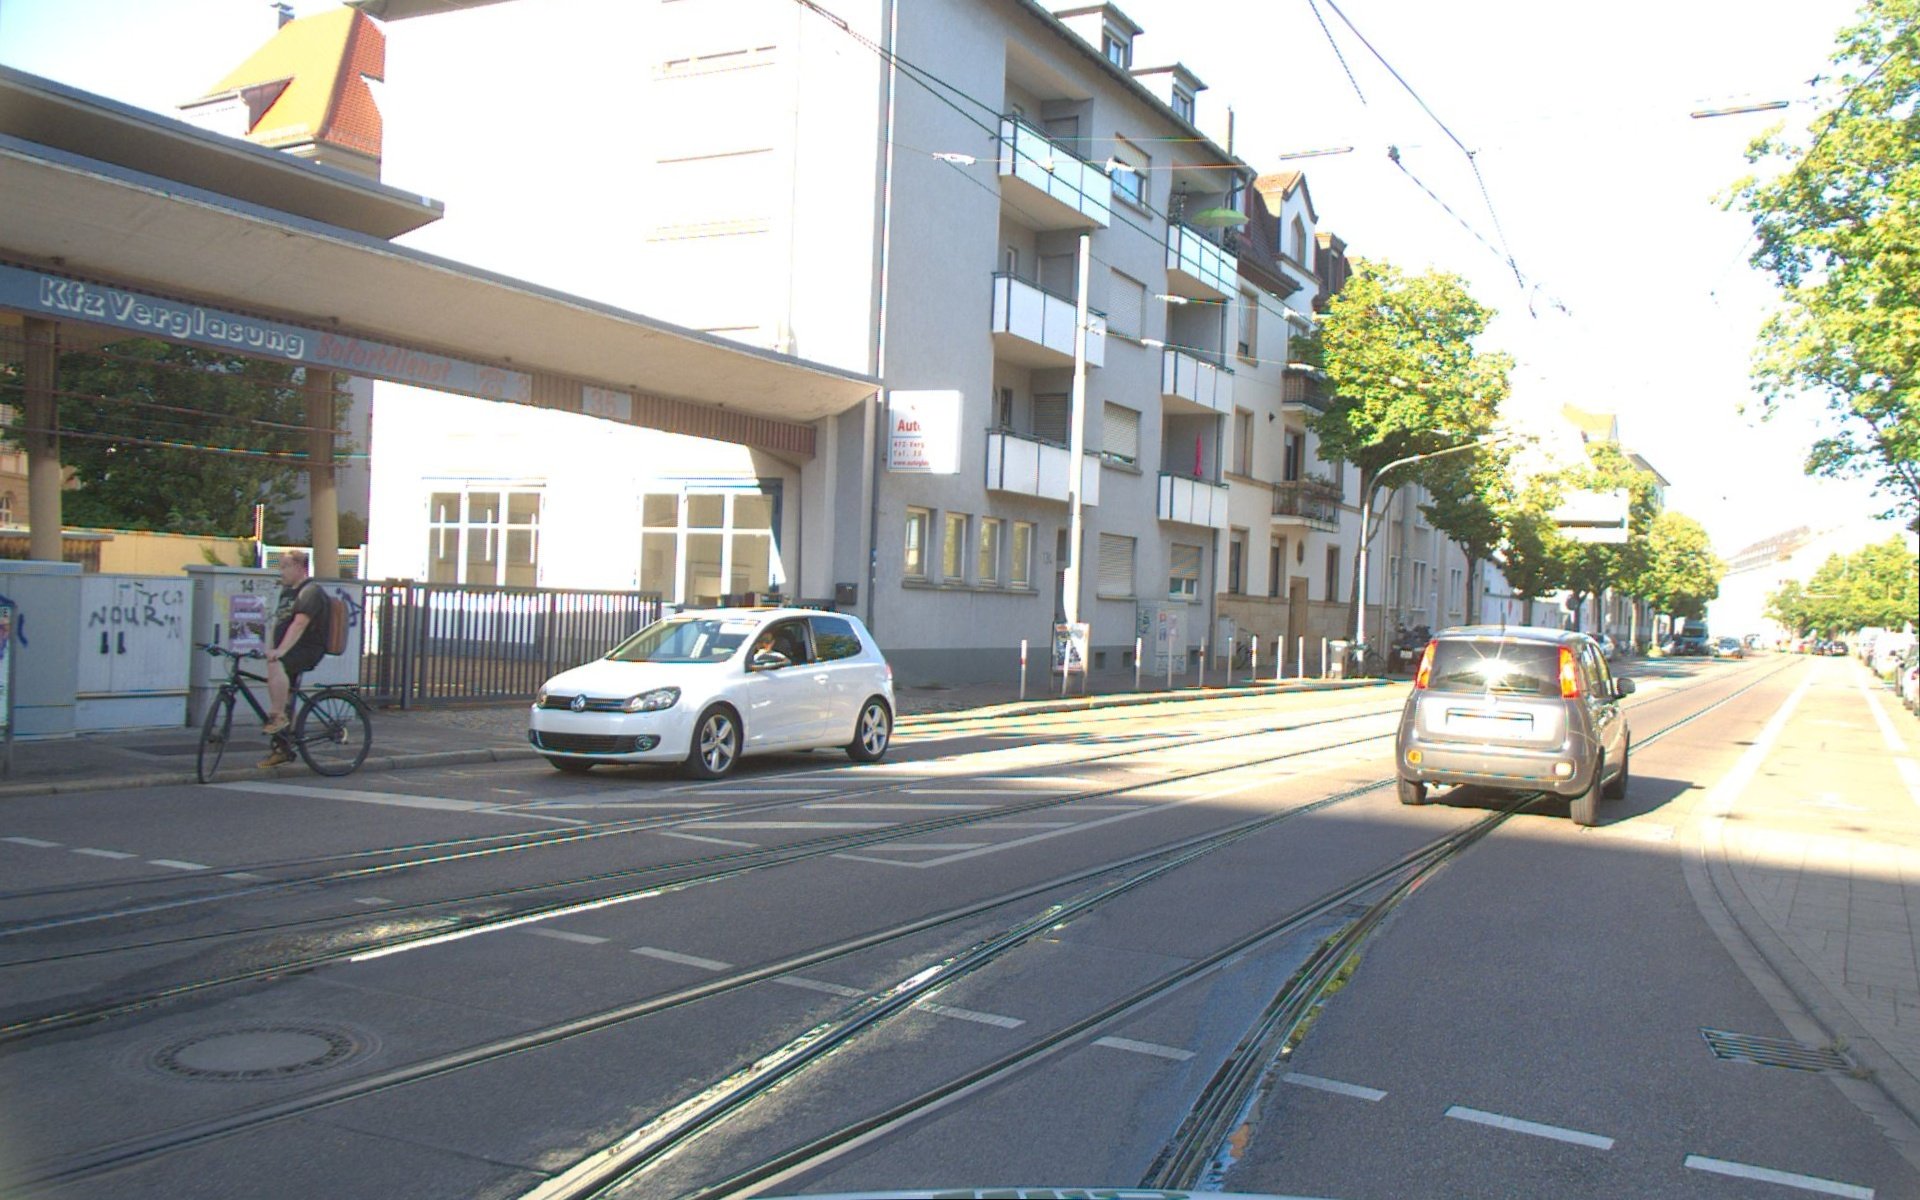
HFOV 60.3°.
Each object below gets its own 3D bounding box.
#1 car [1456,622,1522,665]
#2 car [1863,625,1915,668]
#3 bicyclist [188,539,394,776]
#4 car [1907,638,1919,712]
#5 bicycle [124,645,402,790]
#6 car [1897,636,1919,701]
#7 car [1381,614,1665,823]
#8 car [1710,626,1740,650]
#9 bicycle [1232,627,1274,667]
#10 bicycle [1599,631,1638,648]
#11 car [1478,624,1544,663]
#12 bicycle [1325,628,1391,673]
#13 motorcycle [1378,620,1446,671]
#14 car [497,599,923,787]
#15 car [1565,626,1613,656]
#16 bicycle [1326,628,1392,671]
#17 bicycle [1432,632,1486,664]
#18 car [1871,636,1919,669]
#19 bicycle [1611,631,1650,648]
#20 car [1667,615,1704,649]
[{"bbox_3d":[19.684,1.600,61.428,1.762,1.512,3.996,1,0,26],"label":"car"},{"bbox_3d":[44.124,2.173,78.629,1.918,1.938,4.183,1,0,26],"label":"car"},{"bbox_3d":[-5.436,0.442,13.504,0.890,1.818,1.253,1,0,23],"label":"bicyclist"},{"bbox_3d":[21.186,1.586,34.997,1.787,1.489,4.151,2,0,28],"label":"car"},{"bbox_3d":[-5.548,0.897,13.312,0.711,1.035,2.045,1,0,28],"label":"bicycle"},{"bbox_3d":[23.895,1.649,40.276,1.713,1.483,4.611,1,0,28],"label":"car"},{"bbox_3d":[5.116,0.953,14.690,1.698,1.527,3.993,2,-1,29],"label":"car"},{"bbox_3d":[53.425,2.637,115.530,1.746,1.518,4.183,2,0,26],"label":"car"},{"bbox_3d":[7.824,1.247,44.157,0.496,1.024,2.017,1,0,28],"label":"bicycle"},{"bbox_3d":[39.872,2.395,100.152,0.778,0.946,2.247,2,0,-26],"label":"bicycle"},{"bbox_3d":[22.057,1.714,66.094,1.918,1.444,4.183,1,0,26],"label":"car"},{"bbox_3d":[10.428,1.326,43.319,1.576,1.062,0.458,3,-1,-3],"label":"bicycle"},{"bbox_3d":[14.056,1.395,51.350,1.430,1.507,3.098,1,0,27],"label":"motorcycle"},{"bbox_3d":[-2.140,0.770,15.370,1.756,1.483,4.183,0,-1,28],"label":"car"},{"bbox_3d":[32.820,2.117,86.178,1.918,1.444,4.183,1,0,26],"label":"car"},{"bbox_3d":[10.857,1.350,45.074,1.670,1.051,0.444,3,-1,8],"label":"bicycle"},{"bbox_3d":[17.522,1.679,58.091,1.707,1.041,0.610,3,-1,9],"label":"bicycle"},{"bbox_3d":[42.057,2.335,74.164,1.877,1.399,4.183,1,0,26],"label":"car"},{"bbox_3d":[40.790,2.424,100.650,0.778,0.946,2.306,2,0,-26],"label":"bicycle"},{"bbox_3d":[58.466,2.605,133.182,2.289,2.614,5.663,1,0,28],"label":"car"}]
